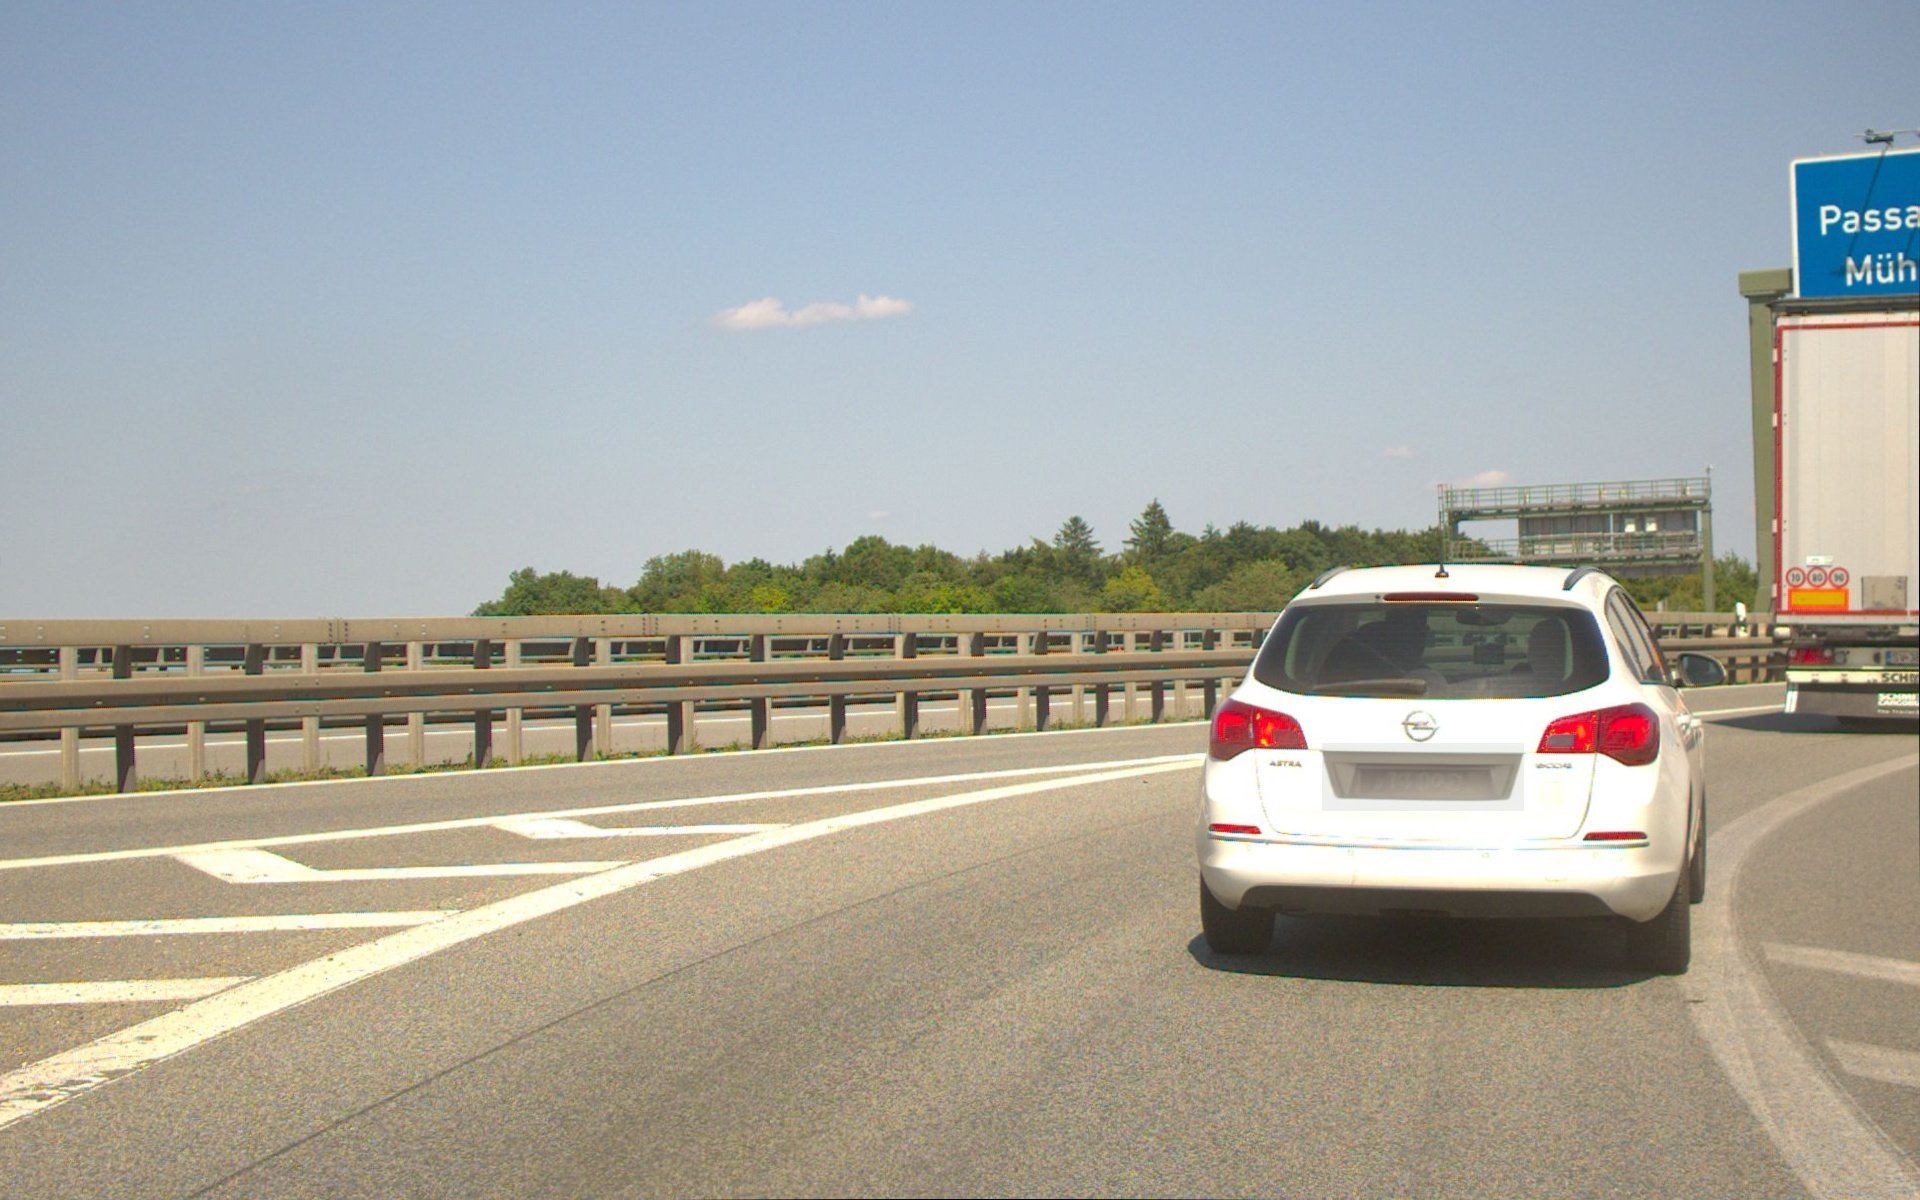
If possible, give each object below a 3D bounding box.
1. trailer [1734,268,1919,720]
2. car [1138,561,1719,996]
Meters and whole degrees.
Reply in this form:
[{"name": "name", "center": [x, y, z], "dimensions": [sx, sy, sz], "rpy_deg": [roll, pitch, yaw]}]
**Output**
[{"name": "trailer", "center": [10.939, -0.844, 36.545], "dimensions": [2.916, 4.131, 11.241], "rpy_deg": [0, -1, 25]}, {"name": "car", "center": [2.047, 0.593, 13.840], "dimensions": [1.855, 1.438, 4.369], "rpy_deg": [1, 0, 14]}]
